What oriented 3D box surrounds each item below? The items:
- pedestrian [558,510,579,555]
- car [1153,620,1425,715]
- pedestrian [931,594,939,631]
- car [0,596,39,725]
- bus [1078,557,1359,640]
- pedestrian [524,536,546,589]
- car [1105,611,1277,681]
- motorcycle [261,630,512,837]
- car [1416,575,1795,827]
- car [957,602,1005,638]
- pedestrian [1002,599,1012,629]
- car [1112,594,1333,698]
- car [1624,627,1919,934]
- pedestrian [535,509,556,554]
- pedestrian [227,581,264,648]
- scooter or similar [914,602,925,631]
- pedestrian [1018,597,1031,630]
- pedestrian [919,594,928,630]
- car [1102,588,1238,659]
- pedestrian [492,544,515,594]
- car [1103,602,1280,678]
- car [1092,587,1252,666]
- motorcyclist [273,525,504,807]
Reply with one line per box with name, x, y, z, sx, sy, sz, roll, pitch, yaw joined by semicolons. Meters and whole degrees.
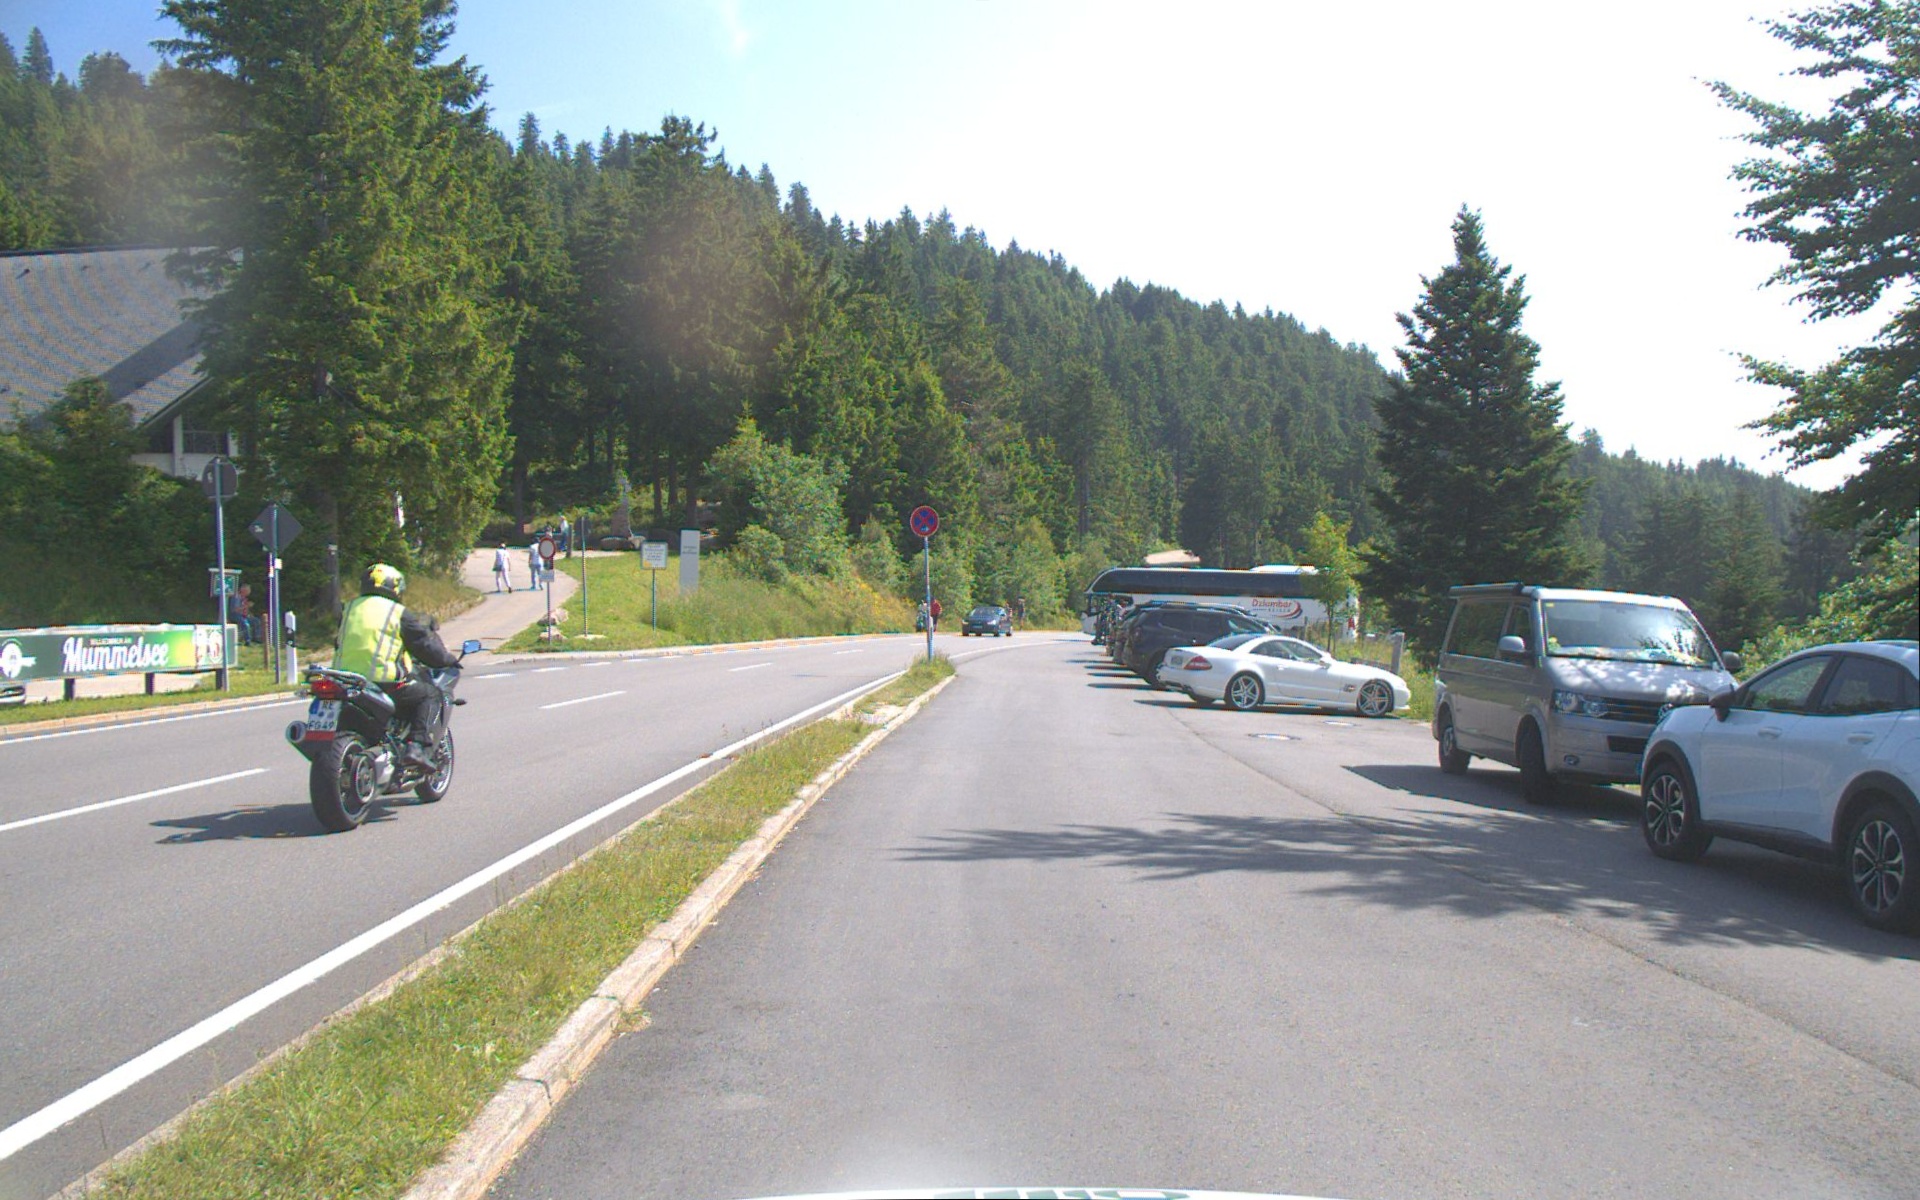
pedestrian;-18.072;-3.103;76.325;0.800;2.048;0.852;-2;2;-8
car;5.740;1.176;28.886;4.381;1.321;1.576;4;0;-16
pedestrian;-1.246;0.624;82.528;0.386;1.777;0.406;-2;1;0
car;-12.768;0.742;20.060;3.903;1.466;1.732;-1;2;44
bus;11.976;-0.165;76.917;12.589;3.640;2.984;1;2;17
pedestrian;-14.811;-1.295;57.644;0.640;1.831;0.642;-1;-1;-6
car;5.123;1.016;36.936;3.562;1.326;1.641;2;2;0
motorcycle;-3.671;0.802;10.834;0.805;1.198;2.286;0;-1;1
car;6.122;0.845;16.394;1.866;2.006;4.820;4;0;1
car;1.070;0.980;82.203;1.951;1.691;4.003;0;0;8
pedestrian;2.976;0.896;105.101;0.609;1.933;0.655;-2;-1;0
car;5.242;0.900;33.329;3.911;1.728;1.997;4;1;-7
car;5.723;0.997;10.028;1.645;1.544;4.049;4;-1;-1
pedestrian;-19.201;-3.155;76.661;0.782;2.048;0.938;-2;2;-8
pedestrian;-16.930;0.337;39.192;0.565;1.559;0.553;-2;2;0
scooter or similar;-1.997;0.836;82.390;0.473;1.404;0.817;-2;2;0
pedestrian;4.050;0.844;103.977;0.717;2.049;0.862;-2;-1;0
pedestrian;-1.842;0.625;83.040;0.406;1.777;0.457;-2;1;0
car;6.397;0.700;50.792;3.904;1.845;1.941;4;2;3
pedestrian;-15.686;-1.061;56.877;0.640;1.696;0.642;-1;-1;-6
car;5.530;0.932;39.873;3.906;1.478;2.000;4;2;0
car;5.554;0.672;43.642;3.905;1.749;1.868;4;2;1
motorcyclist;-3.659;0.411;10.724;1.004;1.704;1.293;1;-1;1
